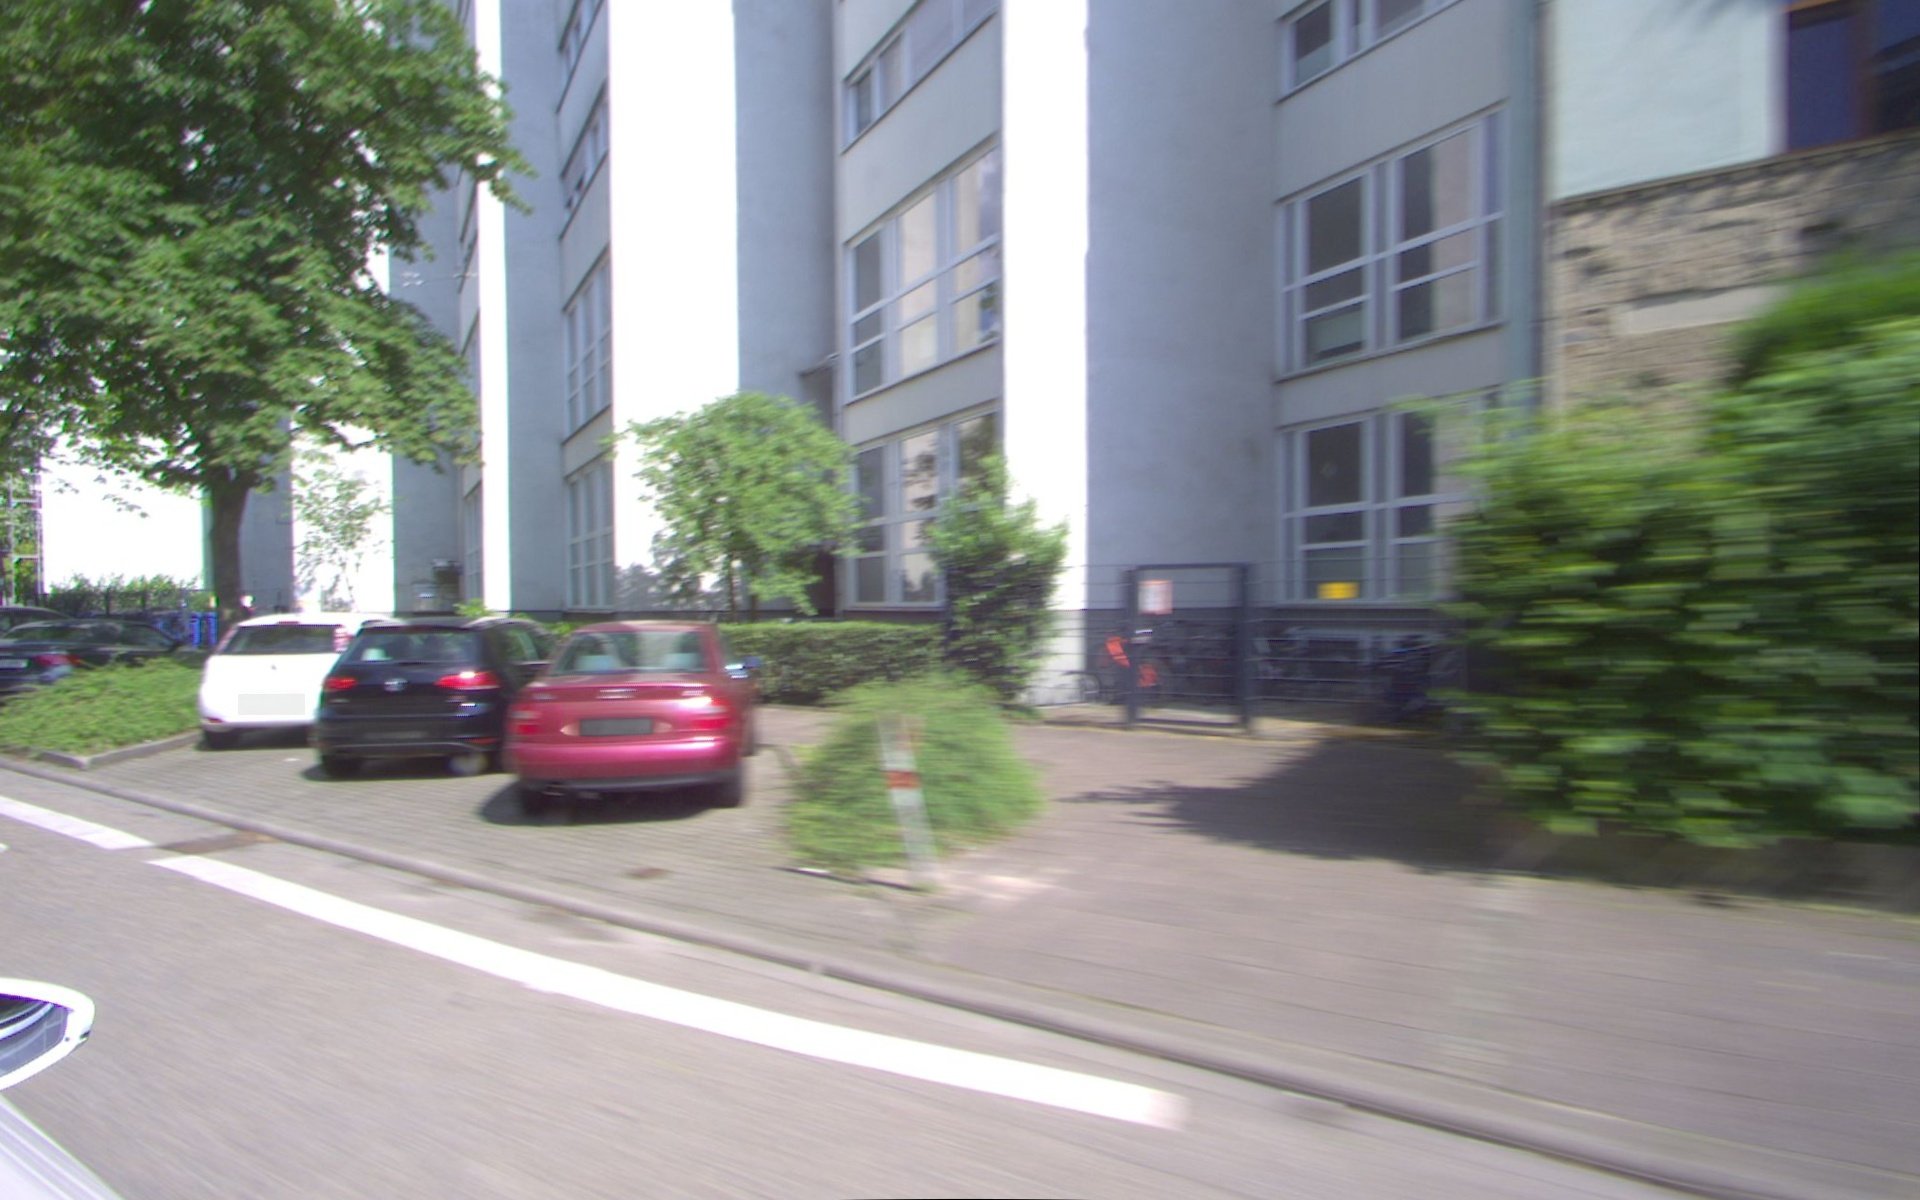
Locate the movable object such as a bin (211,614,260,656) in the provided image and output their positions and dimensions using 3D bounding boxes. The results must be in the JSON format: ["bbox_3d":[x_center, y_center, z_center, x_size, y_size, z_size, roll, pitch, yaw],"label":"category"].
[{"bbox_3d":[-24.663,1.165,34.085,1.201,1.356,1.252,-2,2,-42],"label":"movable object such as a bin"}]

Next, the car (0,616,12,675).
[{"bbox_3d":[-24.312,1.042,22.710,1.994,1.460,4.534,1,-2,-13],"label":"car"}]

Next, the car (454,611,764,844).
[{"bbox_3d":[-2.688,0.844,8.655,1.831,1.442,4.157,-1,0,-10],"label":"car"}]

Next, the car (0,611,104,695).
[{"bbox_3d":[-18.802,0.996,19.302,1.694,1.462,4.071,2,0,-11],"label":"car"}]

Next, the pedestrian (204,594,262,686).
[{"bbox_3d":[-15.395,0.834,21.208,0.990,1.898,0.758,0,0,38],"label":"pedestrian"}]

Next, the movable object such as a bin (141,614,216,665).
[{"bbox_3d":[-21.275,1.058,27.268,1.307,1.335,1.272,-1,-1,33],"label":"movable object such as a bin"}]

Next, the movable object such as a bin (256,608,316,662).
[{"bbox_3d":[-19.613,0.993,29.123,1.362,1.467,1.254,-2,2,-36],"label":"movable object such as a bin"}]

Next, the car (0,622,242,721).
[{"bbox_3d":[-13.547,1.048,15.977,1.870,1.366,4.173,1,-2,-12],"label":"car"}]

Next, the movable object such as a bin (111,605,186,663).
[{"bbox_3d":[-22.734,0.942,28.059,1.449,1.559,1.272,-1,-1,33],"label":"movable object such as a bin"}]

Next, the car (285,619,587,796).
[{"bbox_3d":[-5.196,0.948,10.543,1.667,1.467,3.998,0,-1,-10],"label":"car"}]

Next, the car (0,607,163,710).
[{"bbox_3d":[-16.109,0.952,17.339,1.869,1.595,3.999,1,-2,-9],"label":"car"}]

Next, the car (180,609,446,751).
[{"bbox_3d":[-7.856,0.867,12.591,1.507,1.480,3.996,0,-1,-13],"label":"car"}]
